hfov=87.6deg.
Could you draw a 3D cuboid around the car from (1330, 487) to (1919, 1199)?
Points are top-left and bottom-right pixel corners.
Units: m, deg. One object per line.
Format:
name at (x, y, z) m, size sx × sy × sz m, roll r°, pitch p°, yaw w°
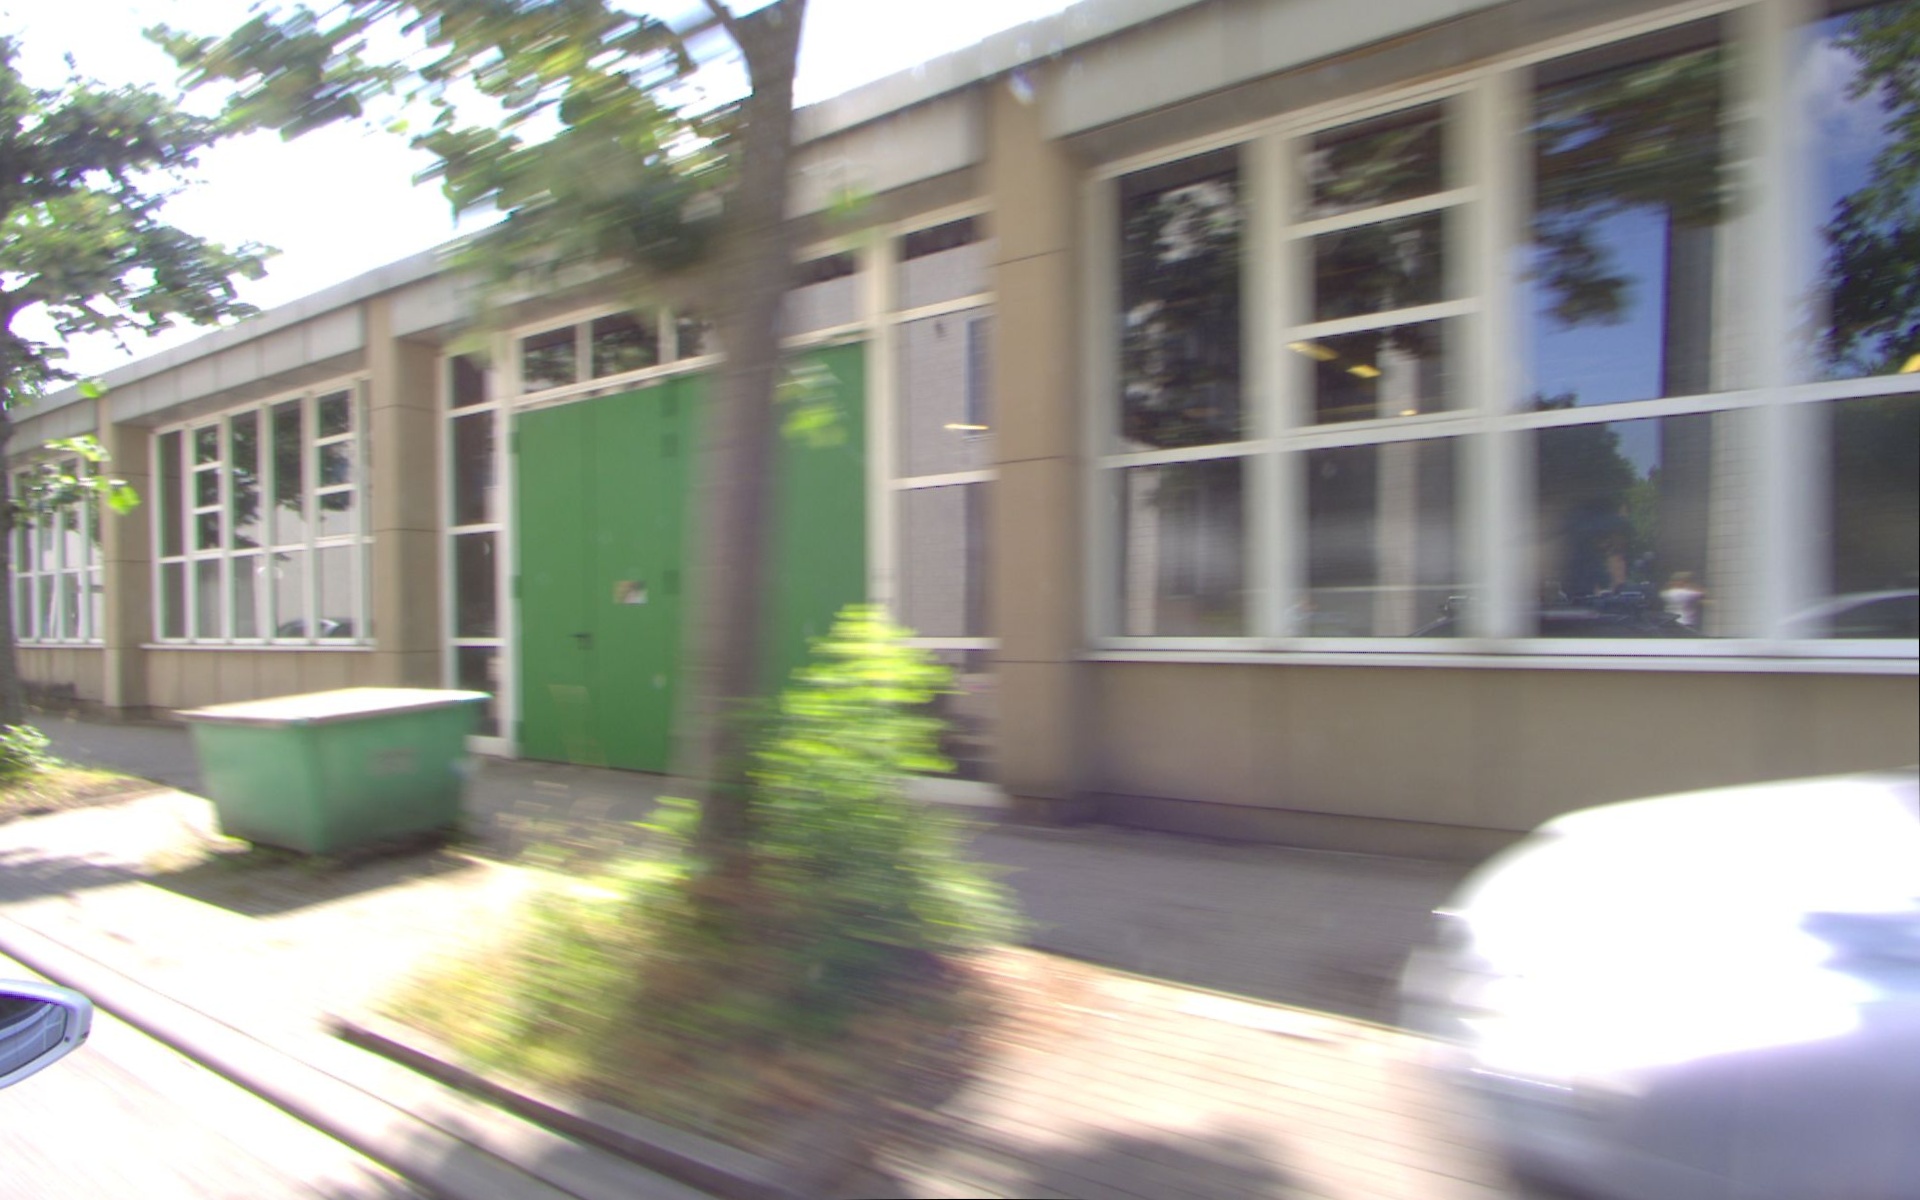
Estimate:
car at (2.607, 0.630, 1.316) m, size 3.727 × 1.558 × 1.613 m, roll -1°, pitch -1°, yaw 33°
